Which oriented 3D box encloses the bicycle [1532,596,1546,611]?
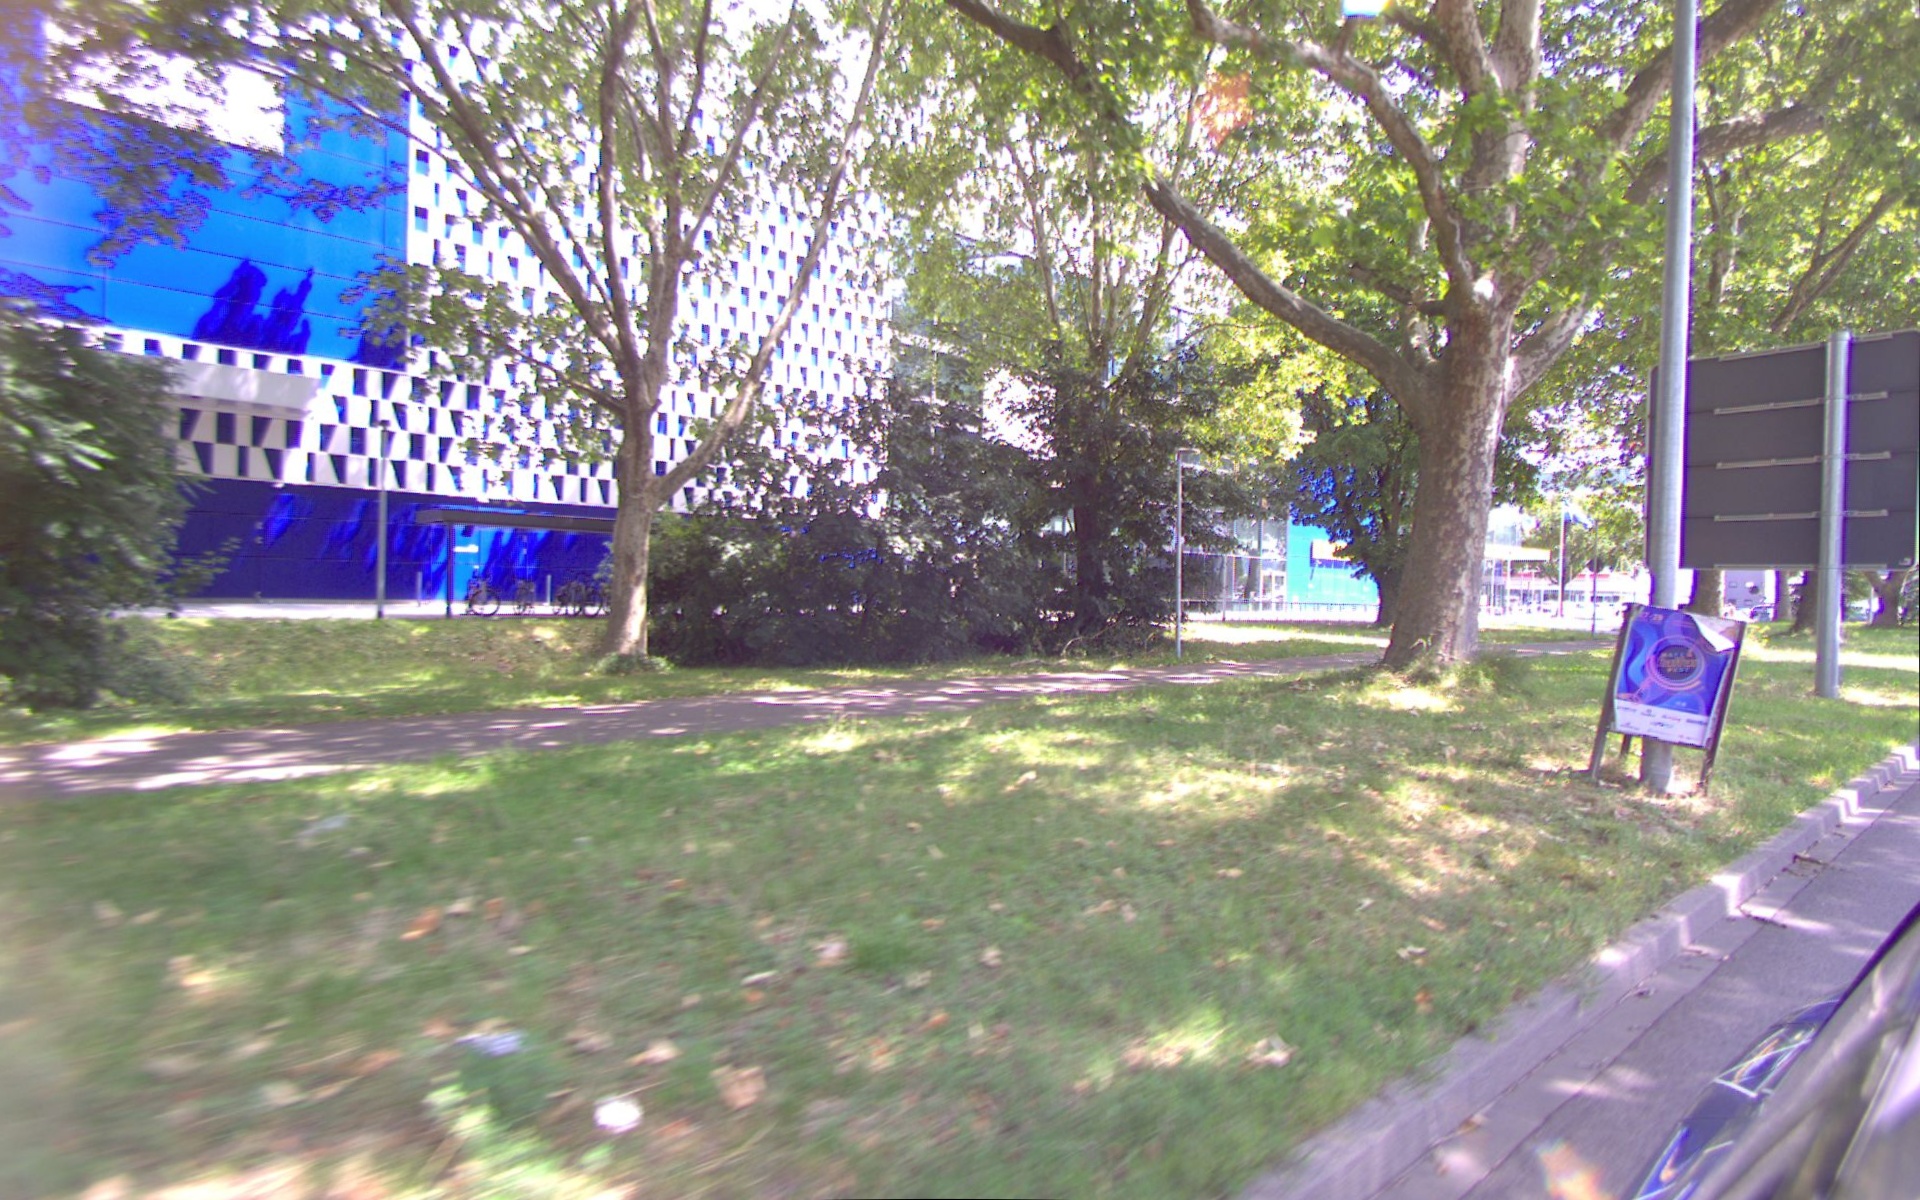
[{"bbox_3d":[47.928,0.274,83.742,0.798,1.159,2.402,1,1,36],"label":"bicycle"}]

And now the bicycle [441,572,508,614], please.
[{"bbox_3d":[-11.724,-0.180,24.414,0.854,0.981,2.061,1,0,-44],"label":"bicycle"}]

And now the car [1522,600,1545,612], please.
[{"bbox_3d":[80.433,0.814,141.959,3.934,1.566,1.850,0,0,-44],"label":"car"}]

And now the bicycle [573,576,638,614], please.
[{"bbox_3d":[-9.340,-0.141,26.629,0.854,0.981,2.061,1,0,-44],"label":"bicycle"}]

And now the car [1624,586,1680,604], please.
[{"bbox_3d":[66.238,-0.466,96.899,1.965,1.660,4.075,0,1,-41],"label":"car"}]

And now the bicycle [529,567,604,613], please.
[{"bbox_3d":[-10.067,-0.265,25.822,0.854,1.131,2.629,1,0,-44],"label":"bicycle"}]

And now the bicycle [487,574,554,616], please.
[{"bbox_3d":[-10.870,-0.130,24.983,0.854,0.981,2.061,1,0,-44],"label":"bicycle"}]

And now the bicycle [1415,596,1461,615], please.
[{"bbox_3d":[25.328,0.293,53.661,0.854,0.981,2.061,1,0,-44],"label":"bicycle"}]
